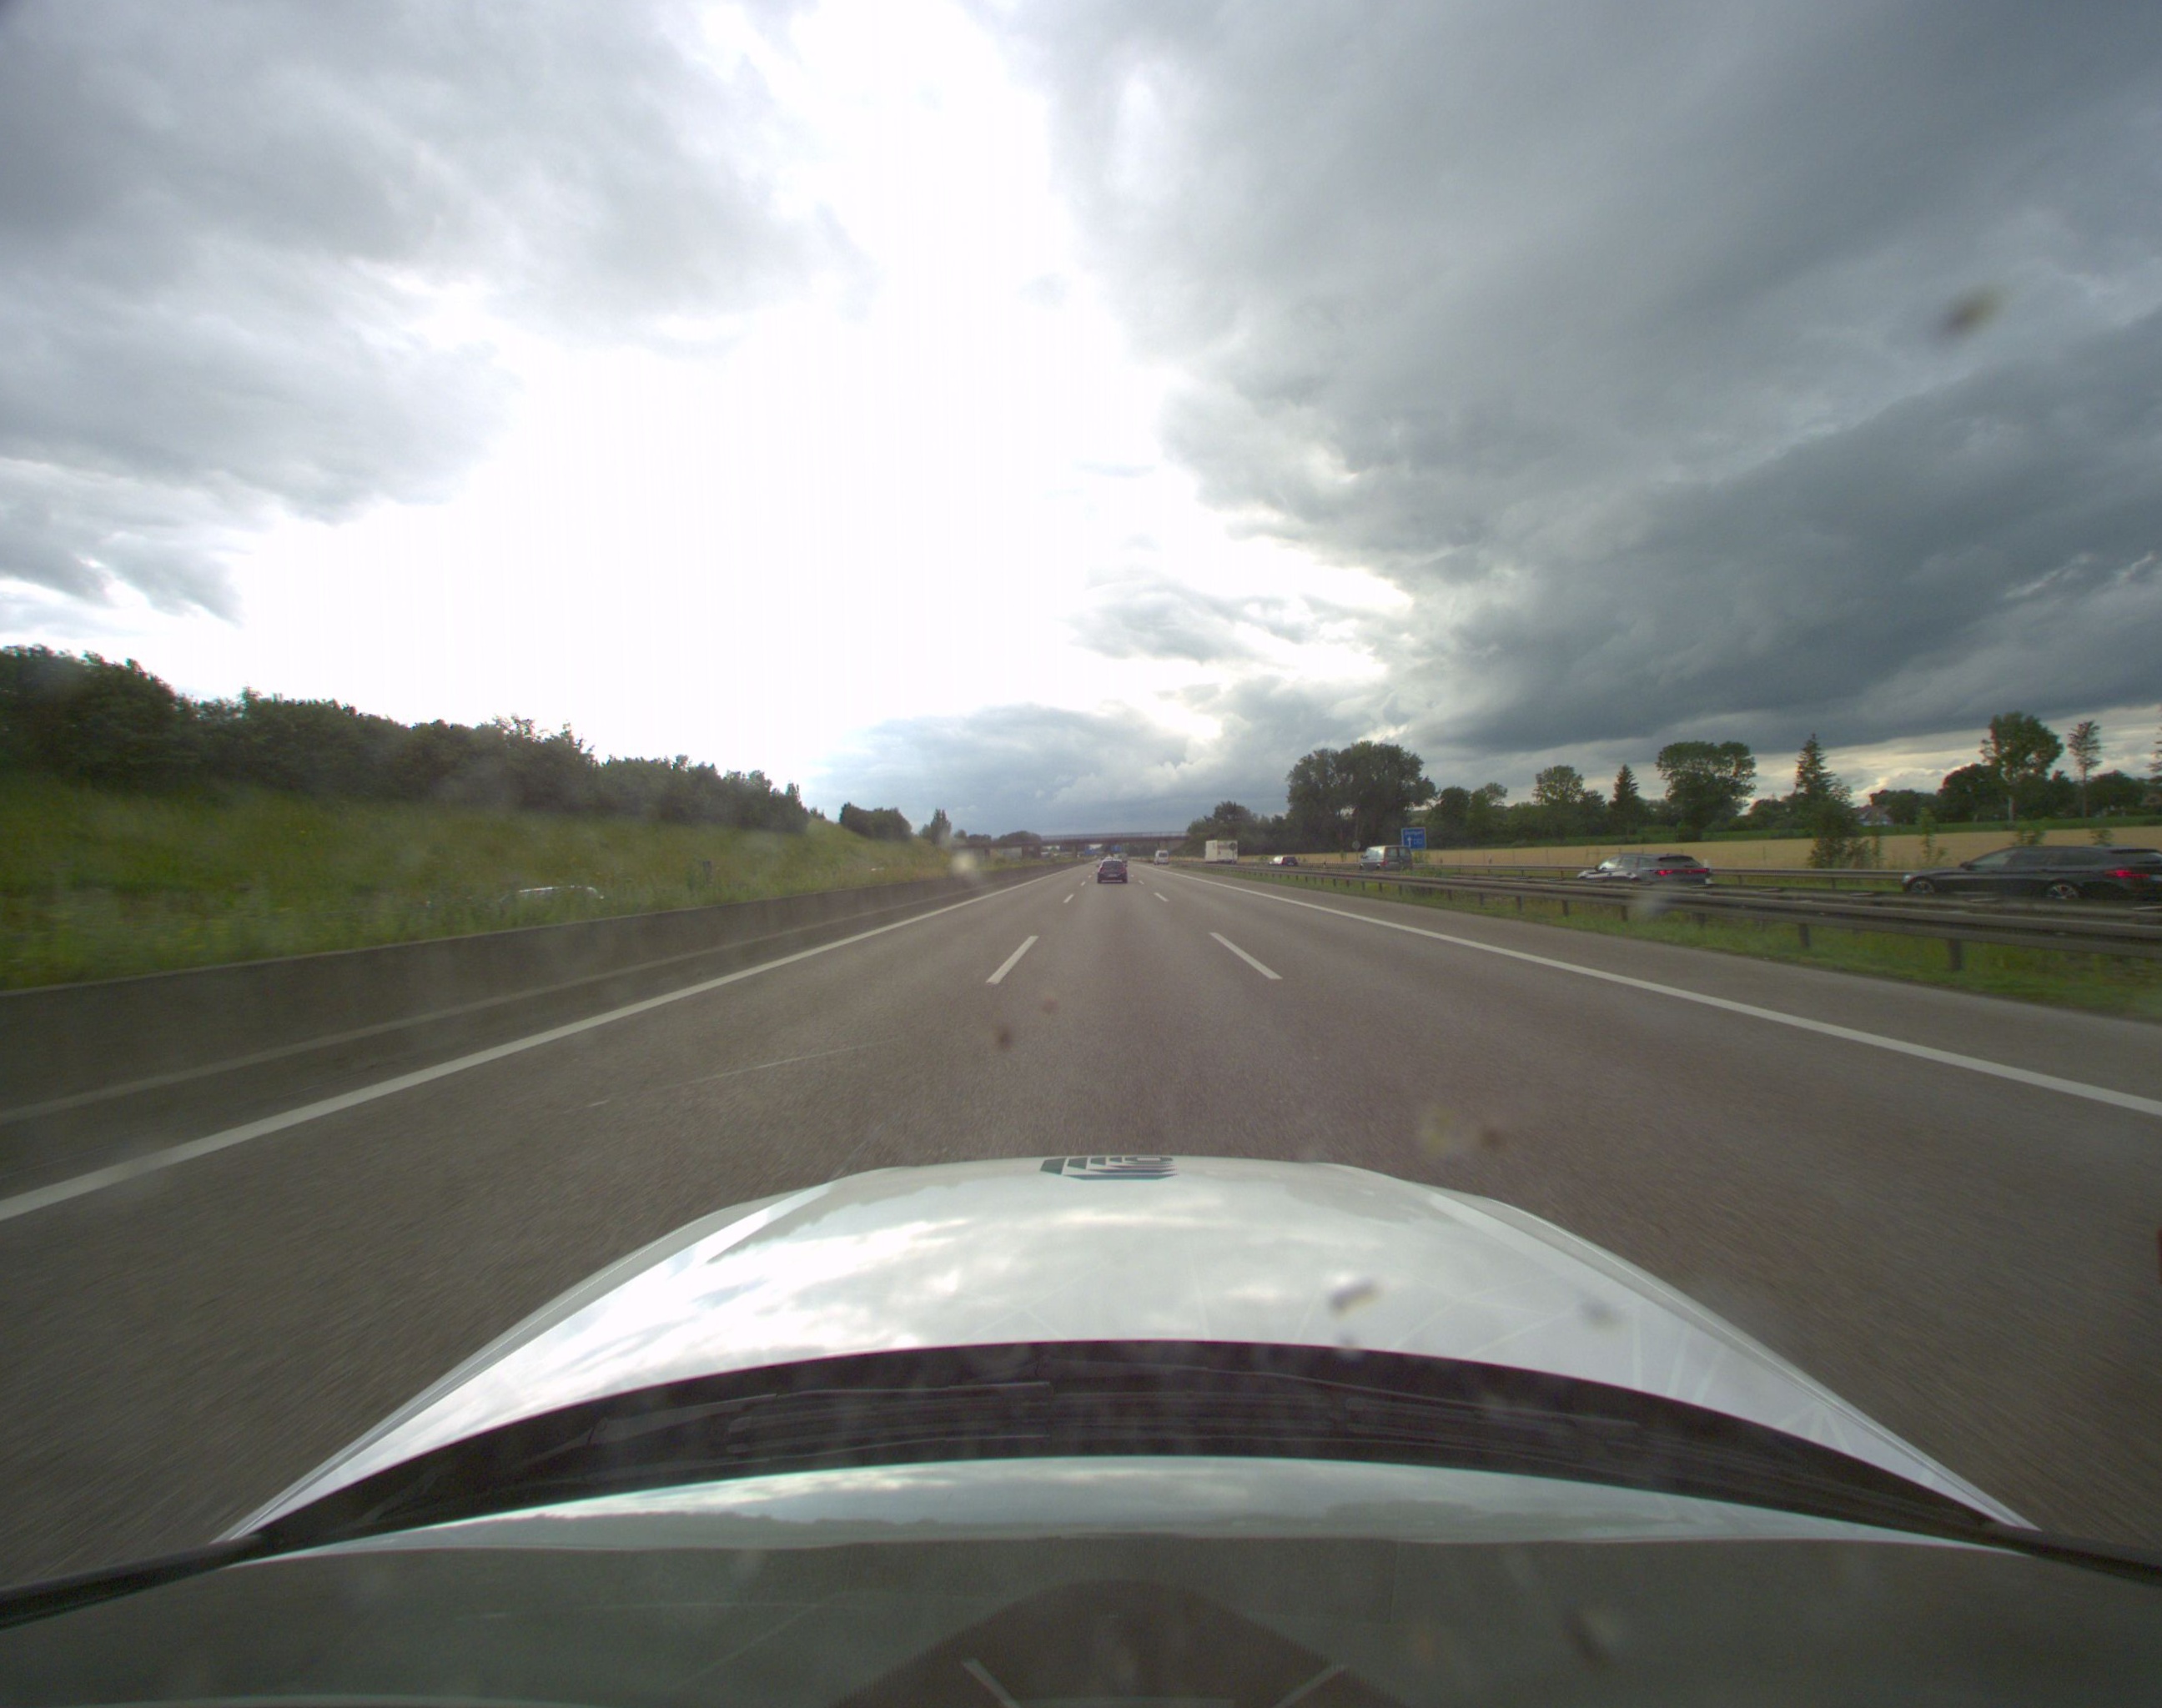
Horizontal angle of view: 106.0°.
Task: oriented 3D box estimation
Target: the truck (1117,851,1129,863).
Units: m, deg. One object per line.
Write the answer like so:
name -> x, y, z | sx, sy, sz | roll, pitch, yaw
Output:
truck -> 10.642, 0.799, 208.718 | 2.700, 2.964, 12.450 | 0, -1, 2

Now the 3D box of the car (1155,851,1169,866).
car -> 14.846, 0.779, 149.624 | 2.213, 2.568, 6.258 | -1, 0, 2

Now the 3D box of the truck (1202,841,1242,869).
truck -> 17.755, 0.166, 103.366 | 3.098, 3.471, 8.879 | 0, -1, -3

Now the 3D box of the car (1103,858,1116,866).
car -> 4.592, 1.311, 132.107 | 1.986, 1.298, 4.001 | -2, -1, 1

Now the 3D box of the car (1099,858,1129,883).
car -> 1.960, 0.962, 49.251 | 1.737, 1.389, 4.002 | -1, 0, 2

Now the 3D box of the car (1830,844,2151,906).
car -> 22.310, 0.469, 20.488 | 1.821, 1.316, 5.716 | 0, 0, 2

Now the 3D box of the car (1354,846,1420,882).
car -> 18.825, 0.588, 50.396 | 2.137, 2.063, 4.956 | -1, 0, -1

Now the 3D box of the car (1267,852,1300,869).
car -> 19.890, 0.620, 80.050 | 1.912, 1.550, 4.921 | -2, 0, -1

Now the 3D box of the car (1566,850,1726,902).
car -> 17.490, 0.645, 25.517 | 1.745, 1.484, 4.590 | 0, 0, -2
